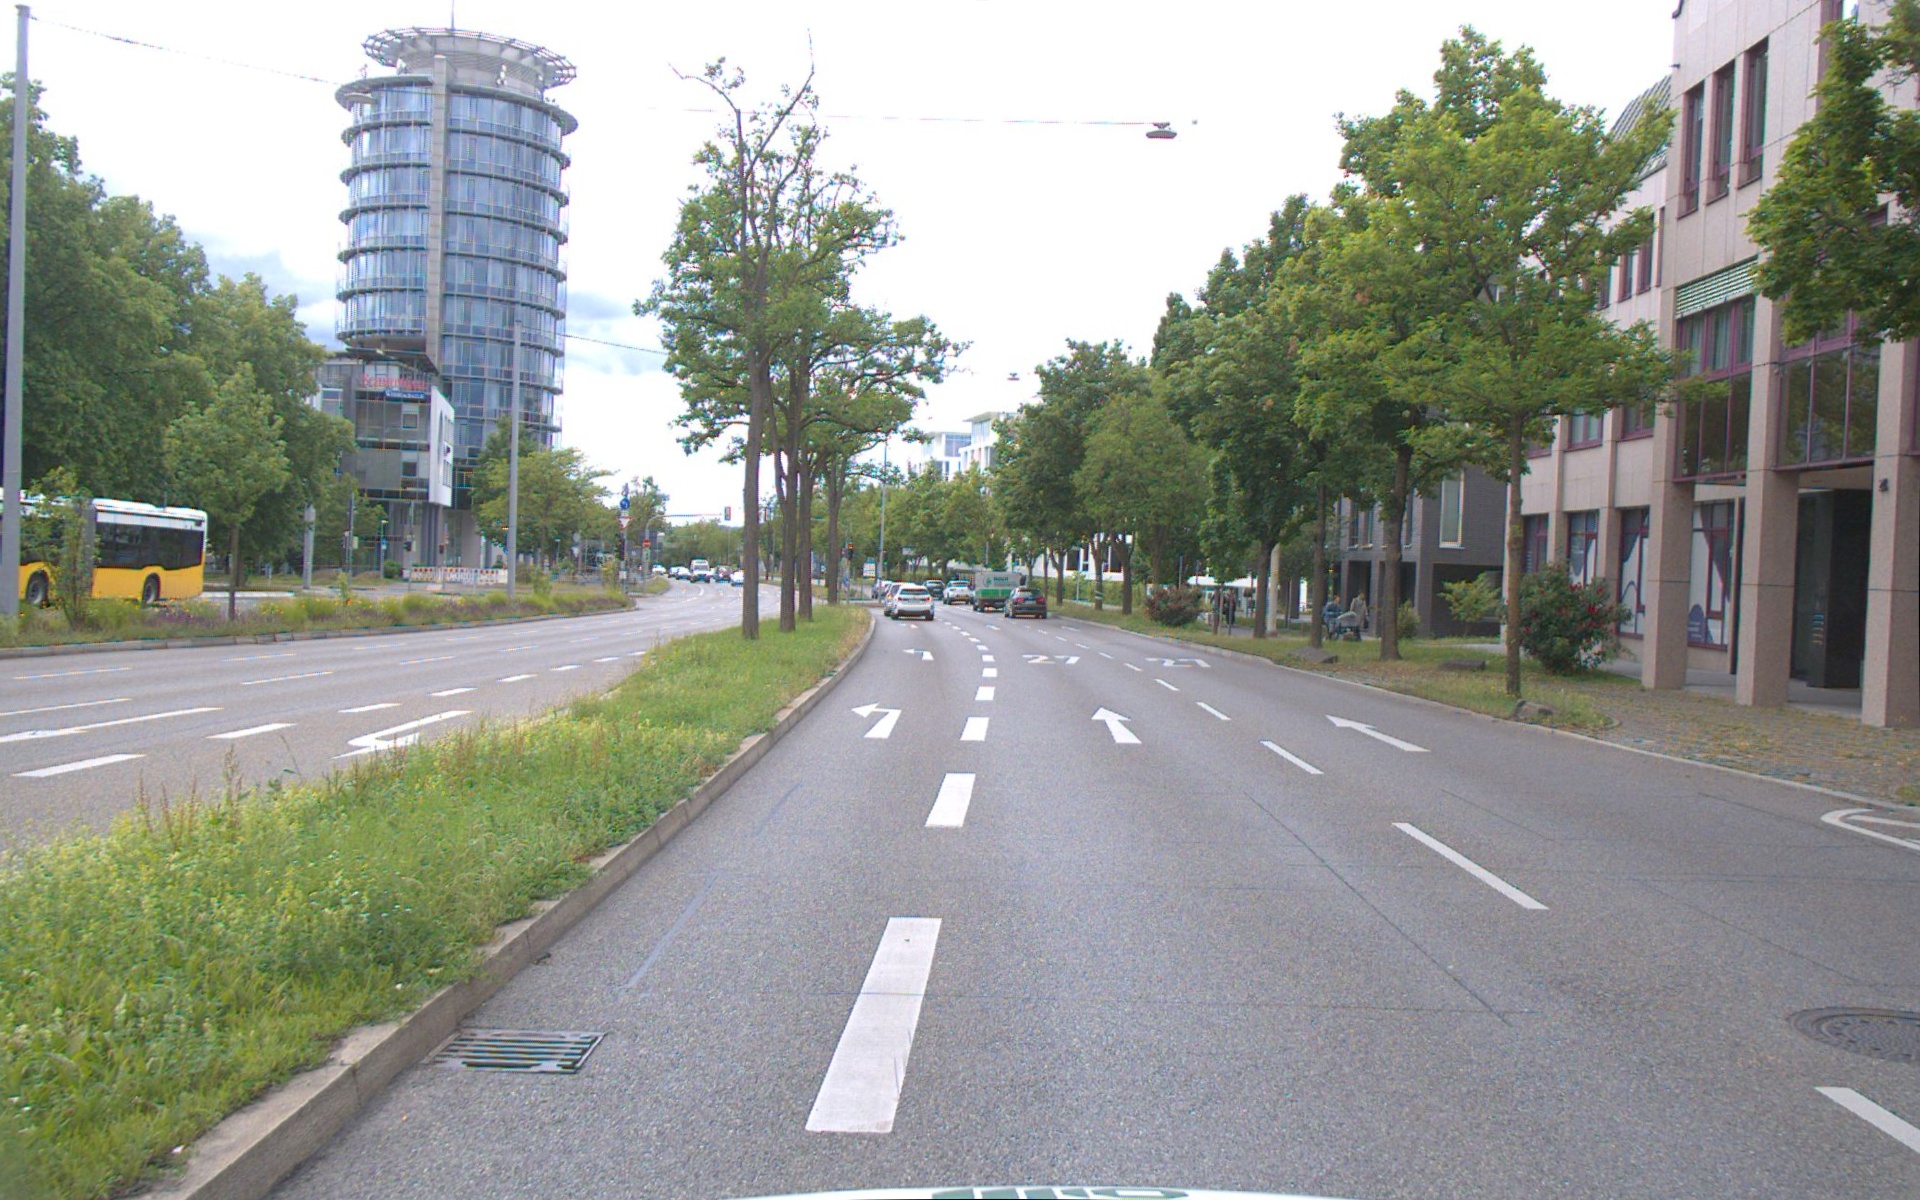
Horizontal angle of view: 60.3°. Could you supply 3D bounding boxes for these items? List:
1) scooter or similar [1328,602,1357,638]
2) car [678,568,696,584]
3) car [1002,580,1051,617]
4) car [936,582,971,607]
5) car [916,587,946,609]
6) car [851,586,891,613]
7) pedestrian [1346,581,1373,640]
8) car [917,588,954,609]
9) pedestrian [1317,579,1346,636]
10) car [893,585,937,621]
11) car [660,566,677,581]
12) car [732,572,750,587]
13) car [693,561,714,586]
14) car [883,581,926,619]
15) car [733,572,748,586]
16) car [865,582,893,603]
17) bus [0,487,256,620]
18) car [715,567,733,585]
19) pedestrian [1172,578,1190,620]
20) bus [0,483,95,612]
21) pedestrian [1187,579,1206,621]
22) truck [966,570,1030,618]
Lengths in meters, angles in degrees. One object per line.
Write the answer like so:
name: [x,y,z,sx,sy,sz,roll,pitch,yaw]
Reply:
scooter or similar: [11.127,0.573,48.122,0.572,1.011,0.845,0,0,-6]
car: [-35.656,-3.129,216.016,1.955,2.045,4.319,3,0,-6]
car: [3.137,-0.097,78.499,1.954,1.624,3.998,2,0,-3]
car: [-0.481,-0.380,111.019,1.955,1.534,3.995,1,1,-6]
car: [-2.228,-0.174,126.749,1.955,1.516,3.995,2,0,-6]
car: [-5.240,-0.035,97.865,1.952,1.534,4.001,2,0,2]
pedestrian: [11.849,0.311,49.065,0.555,1.729,0.829,2,0,2]
car: [-1.875,-0.131,125.532,1.959,1.534,3.988,2,0,-12]
pedestrian: [11.014,0.215,49.022,0.544,1.681,0.960,0,0,-6]
car: [-1.934,0.119,72.079,1.825,1.474,3.999,2,0,-1]
car: [-40.829,-3.708,231.738,1.955,1.885,4.319,3,0,-6]
car: [-23.040,-2.134,174.166,1.719,1.469,4.129,3,0,-6]
car: [-29.986,-3.077,193.376,1.955,2.679,5.868,3,0,-6]
car: [-2.645,0.016,78.760,1.954,1.701,3.998,2,0,-2]
car: [-34.095,-3.313,256.942,1.955,2.045,4.319,3,0,-6]
car: [-6.374,-0.613,129.989,1.955,1.516,3.995,2,0,-6]
bus: [-25.336,-1.324,50.559,2.969,3.515,9.913,3,0,1]
car: [-28.361,-2.898,198.953,1.955,1.964,3.995,3,0,-6]
pedestrian: [9.924,-0.044,74.361,0.596,1.806,0.953,2,2,-3]
bus: [-25.555,-1.391,40.315,3.020,3.217,10.738,3,0,1]
pedestrian: [10.632,0.000,74.322,0.596,1.806,0.953,2,2,-3]
truck: [2.082,-0.328,93.133,2.804,2.563,6.279,2,0,-6]
